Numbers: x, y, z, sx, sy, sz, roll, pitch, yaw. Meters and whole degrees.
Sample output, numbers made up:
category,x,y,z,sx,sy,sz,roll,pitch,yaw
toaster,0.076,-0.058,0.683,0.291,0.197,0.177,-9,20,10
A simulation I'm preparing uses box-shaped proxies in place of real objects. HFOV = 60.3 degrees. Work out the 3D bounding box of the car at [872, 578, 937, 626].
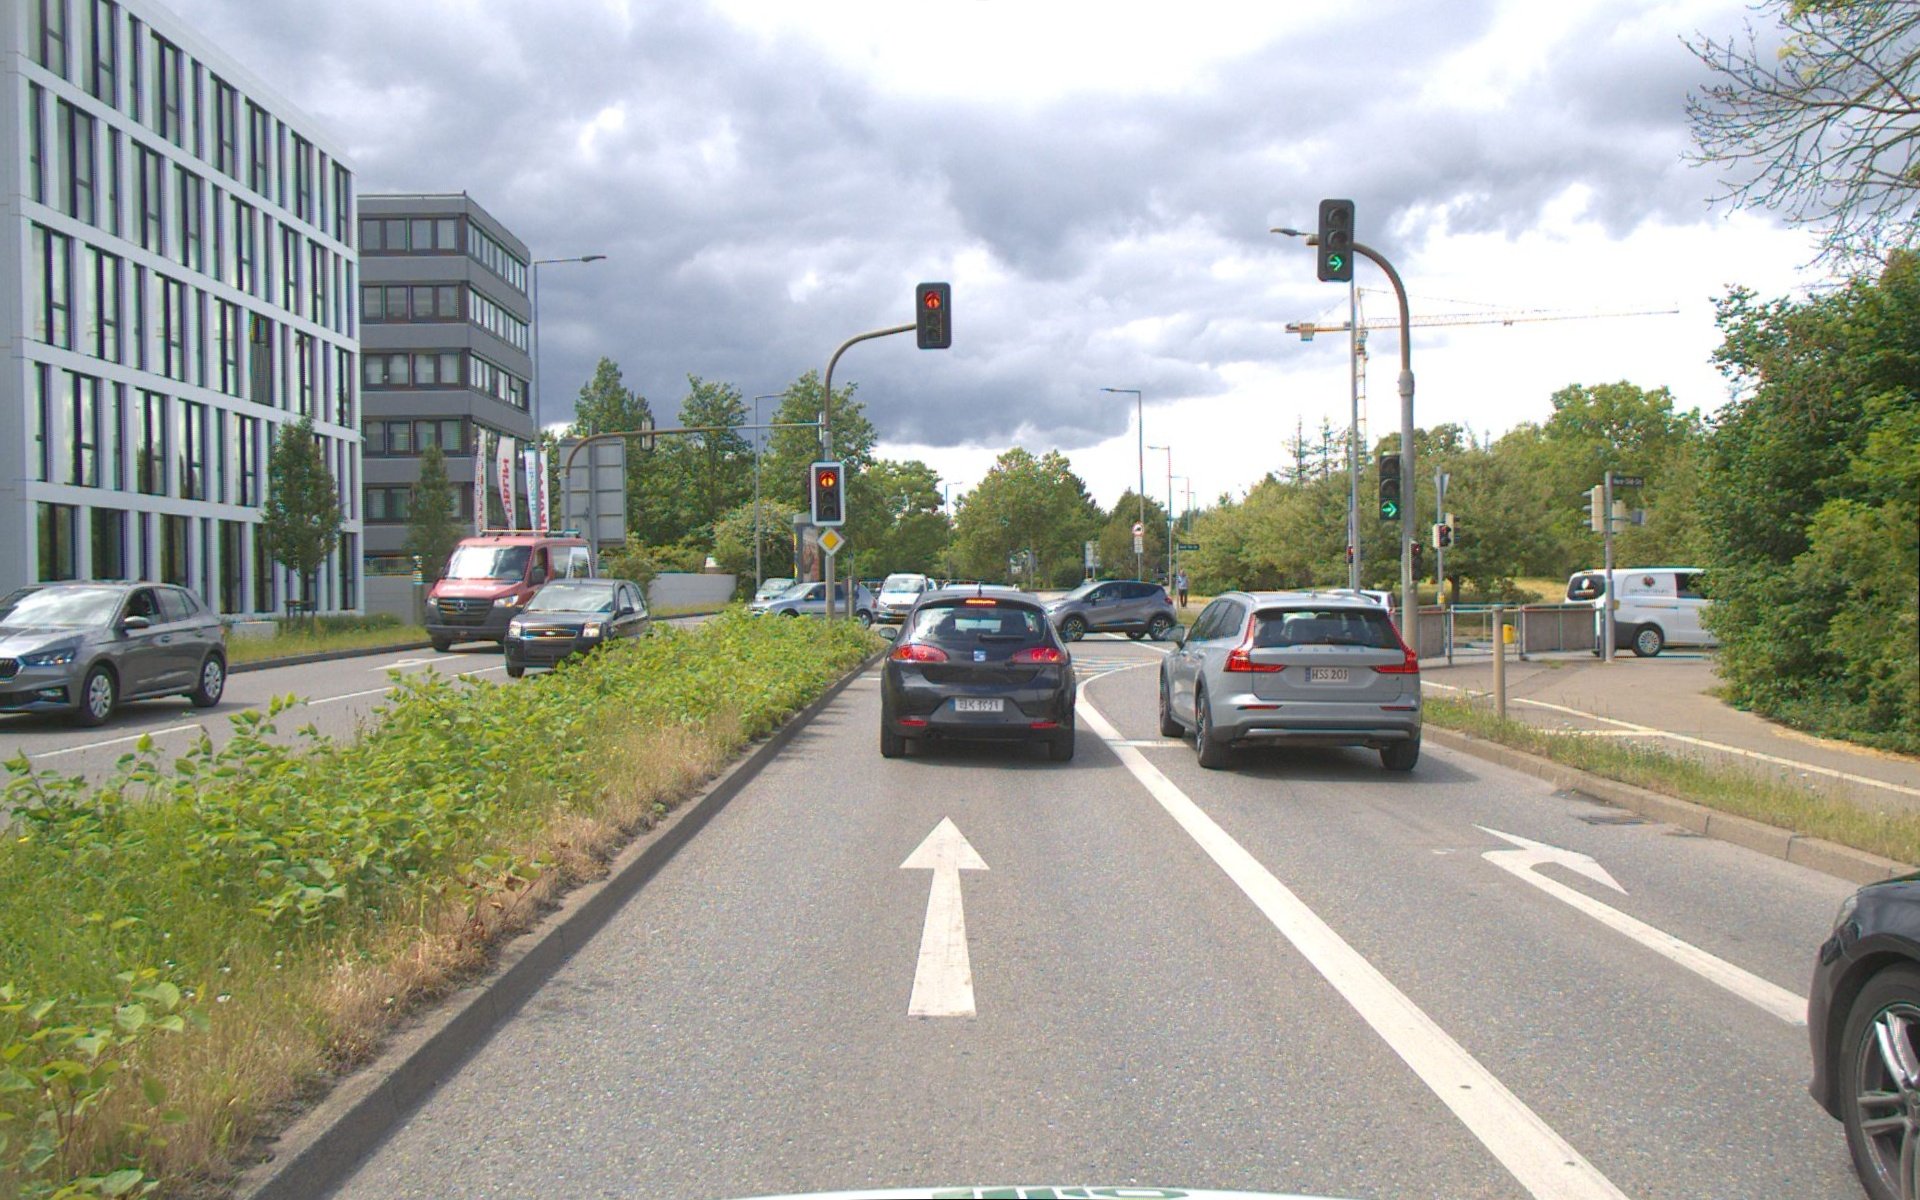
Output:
category,x,y,z,sx,sy,sz,roll,pitch,yaw
car,-1.892,0.050,57.771,1.952,1.624,4.002,0,1,3

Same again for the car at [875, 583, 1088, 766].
category,x,y,z,sx,sy,sz,roll,pitch,yaw
car,0.170,0.598,15.412,1.737,1.477,3.582,1,1,0

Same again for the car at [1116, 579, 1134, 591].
category,x,y,z,sx,sy,sz,roll,pitch,yaw
car,19.386,-1.811,194.094,1.951,1.375,4.003,0,1,8

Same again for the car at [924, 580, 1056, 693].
category,x,y,z,sx,sy,sz,roll,pitch,yaw
car,0.381,0.485,24.585,1.737,1.517,3.581,-1,1,-2

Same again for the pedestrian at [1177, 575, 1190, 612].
category,x,y,z,sx,sy,sz,roll,pitch,yaw
pedestrian,10.628,-0.316,78.669,0.547,1.756,0.588,1,0,1

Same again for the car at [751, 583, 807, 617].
category,x,y,z,sx,sy,sz,roll,pitch,yaw
car,-7.668,-0.023,70.522,1.953,1.375,4.000,0,1,0

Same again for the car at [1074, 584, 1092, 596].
category,x,y,z,sx,sy,sz,roll,pitch,yaw
car,14.522,-1.201,195.134,1.951,1.375,4.003,0,1,8

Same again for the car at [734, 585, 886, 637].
category,x,y,z,sx,sy,sz,roll,pitch,yaw
car,-4.306,0.286,47.582,3.954,1.378,1.976,-1,1,-35

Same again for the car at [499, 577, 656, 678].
category,x,y,z,sx,sy,sz,roll,pitch,yaw
car,-6.071,0.383,26.658,1.644,1.508,4.000,0,1,-1

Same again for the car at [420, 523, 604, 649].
category,x,y,z,sx,sy,sz,roll,pitch,yaw
car,-9.314,-0.291,34.920,1.951,2.454,5.244,-1,0,6

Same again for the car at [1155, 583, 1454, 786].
category,x,y,z,sx,sy,sz,roll,pitch,yaw
car,2.957,0.635,15.154,1.824,1.545,4.447,-1,1,0

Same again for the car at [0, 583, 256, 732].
category,x,y,z,sx,sy,sz,roll,pitch,yaw
car,-9.383,0.527,17.848,1.893,1.422,4.000,0,1,-1

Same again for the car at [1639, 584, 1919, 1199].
category,x,y,z,sx,sy,sz,roll,pitch,yaw
car,3.129,0.712,2.483,1.835,1.466,5.197,-1,1,-3

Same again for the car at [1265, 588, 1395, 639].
category,x,y,z,sx,sy,sz,roll,pitch,yaw
car,11.675,0.397,52.096,3.902,1.557,2.001,0,1,16

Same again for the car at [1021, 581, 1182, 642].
category,x,y,z,sx,sy,sz,roll,pitch,yaw
car,3.791,0.282,44.533,3.925,1.543,1.932,0,1,-18

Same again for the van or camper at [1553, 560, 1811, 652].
category,x,y,z,sx,sy,sz,roll,pitch,yaw
van or camper,15.587,0.110,35.830,4.837,1.892,1.996,-1,0,-10
